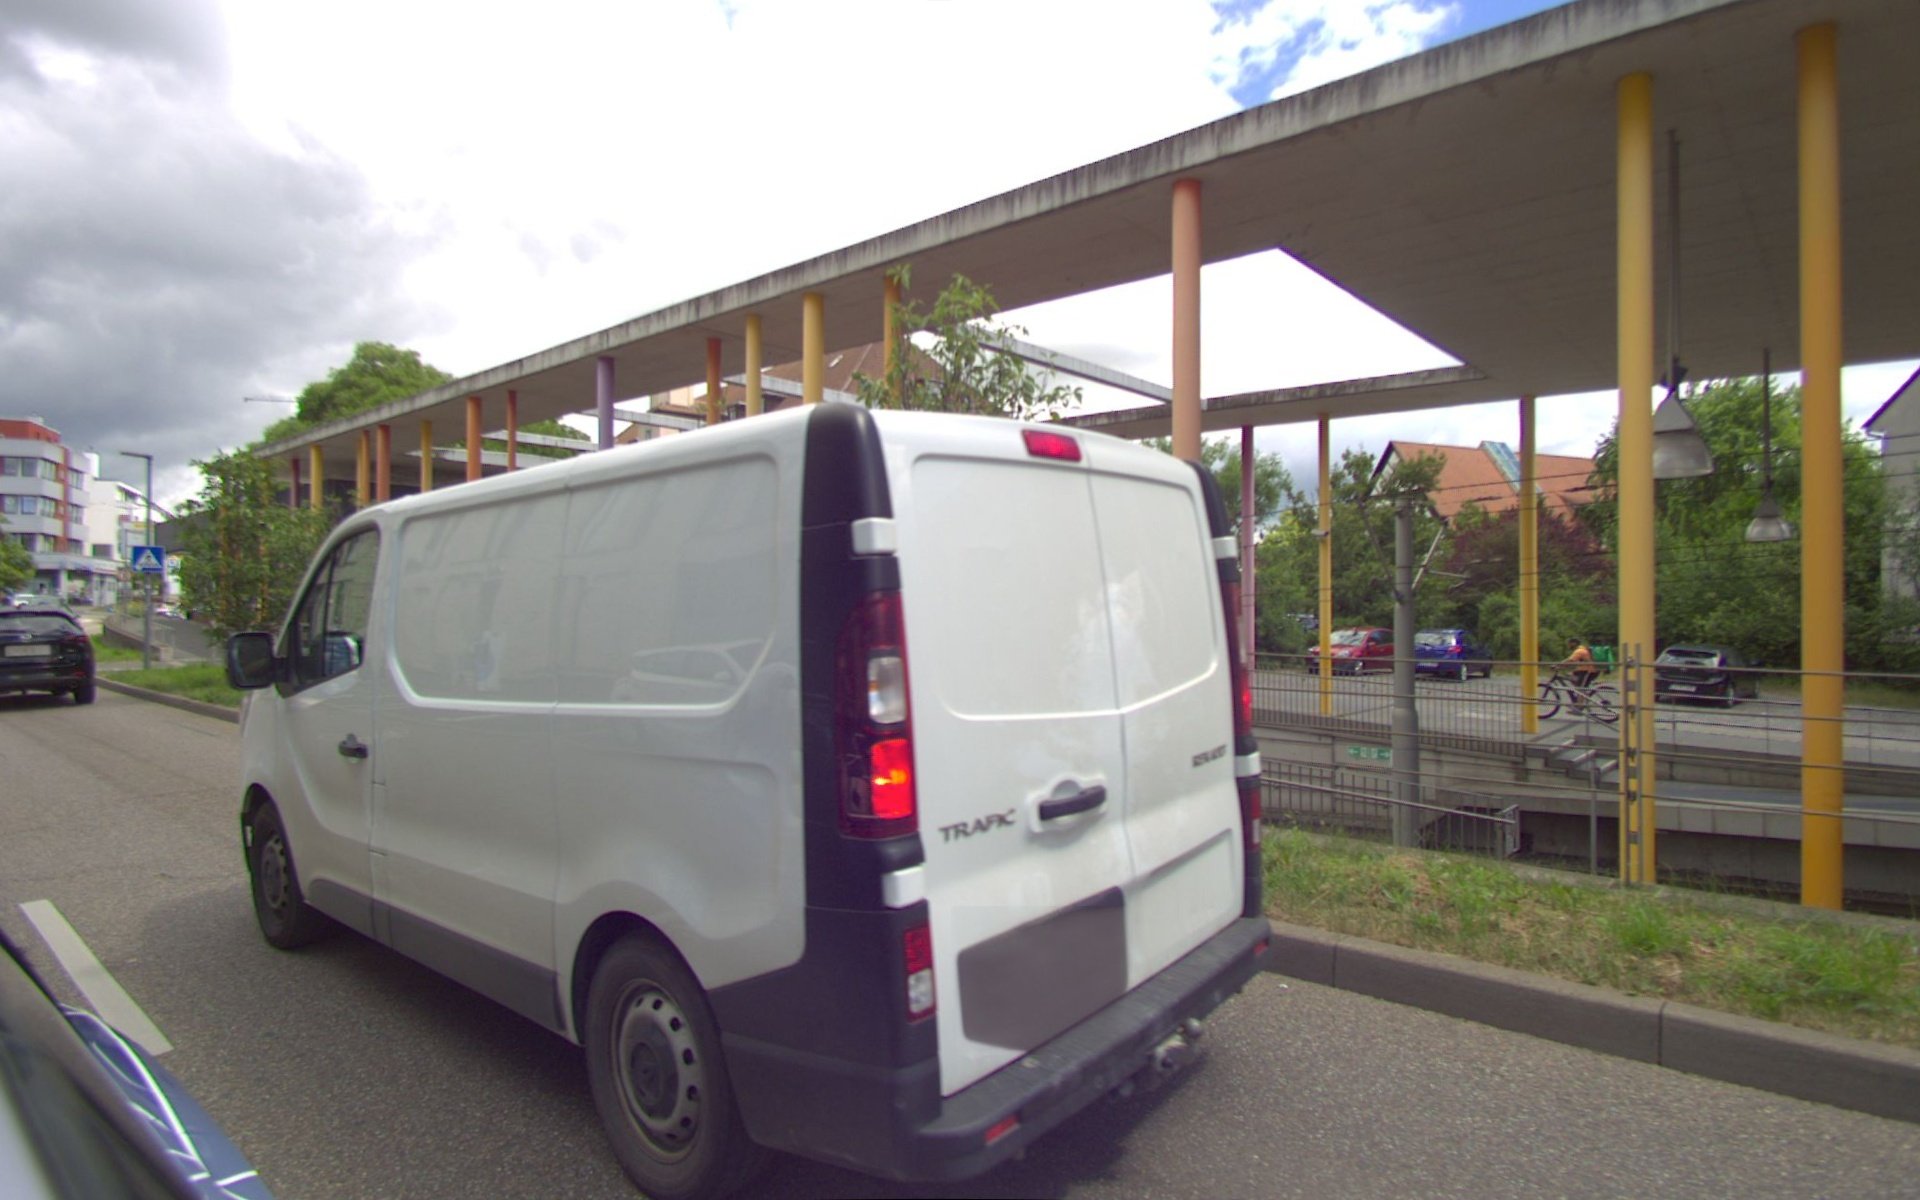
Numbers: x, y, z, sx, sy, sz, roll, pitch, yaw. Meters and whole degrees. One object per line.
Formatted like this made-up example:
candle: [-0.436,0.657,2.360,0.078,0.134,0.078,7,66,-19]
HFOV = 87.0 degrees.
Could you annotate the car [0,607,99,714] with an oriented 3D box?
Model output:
car: [-16.281,0.966,17.101,4.623,1.617,1.900,-1,0,40]

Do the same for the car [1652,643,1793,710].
car: [18.955,1.848,25.126,3.933,1.347,1.574,0,1,-34]

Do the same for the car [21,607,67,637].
car: [-54.636,1.293,60.433,1.776,1.592,4.008,0,1,-38]

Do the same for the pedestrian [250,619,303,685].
pedestrian: [-17.166,1.291,25.408,0.814,1.577,0.918,1,1,40]

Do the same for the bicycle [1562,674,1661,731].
bicycle: [13.155,2.053,20.454,1.613,0.970,0.478,1,1,44]

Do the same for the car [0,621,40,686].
car: [-23.766,1.274,24.564,3.907,1.480,1.792,-1,0,43]

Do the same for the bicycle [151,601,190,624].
bicycle: [-40.713,0.655,52.177,1.525,1.136,0.535,1,-1,-34]

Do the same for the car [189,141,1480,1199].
car: [-1.083,0.372,3.801,5.063,1.931,1.983,-1,0,42]

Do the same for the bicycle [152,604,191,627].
bicycle: [-40.227,0.792,51.653,1.525,1.136,0.535,1,-1,-34]

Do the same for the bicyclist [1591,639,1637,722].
bicyclist: [13.190,1.611,20.419,0.682,1.605,0.478,1,1,44]

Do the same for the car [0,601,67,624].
car: [-72.687,0.951,79.312,1.820,1.675,3.996,0,1,3]

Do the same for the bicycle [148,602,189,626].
bicycle: [-39.217,0.694,50.174,1.525,1.136,0.535,1,-1,-34]

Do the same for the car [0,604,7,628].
car: [-57.187,0.946,58.762,1.967,1.424,4.748,1,-1,-34]

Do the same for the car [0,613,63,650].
car: [-40.133,1.319,43.701,4.235,1.475,1.752,-1,0,44]
